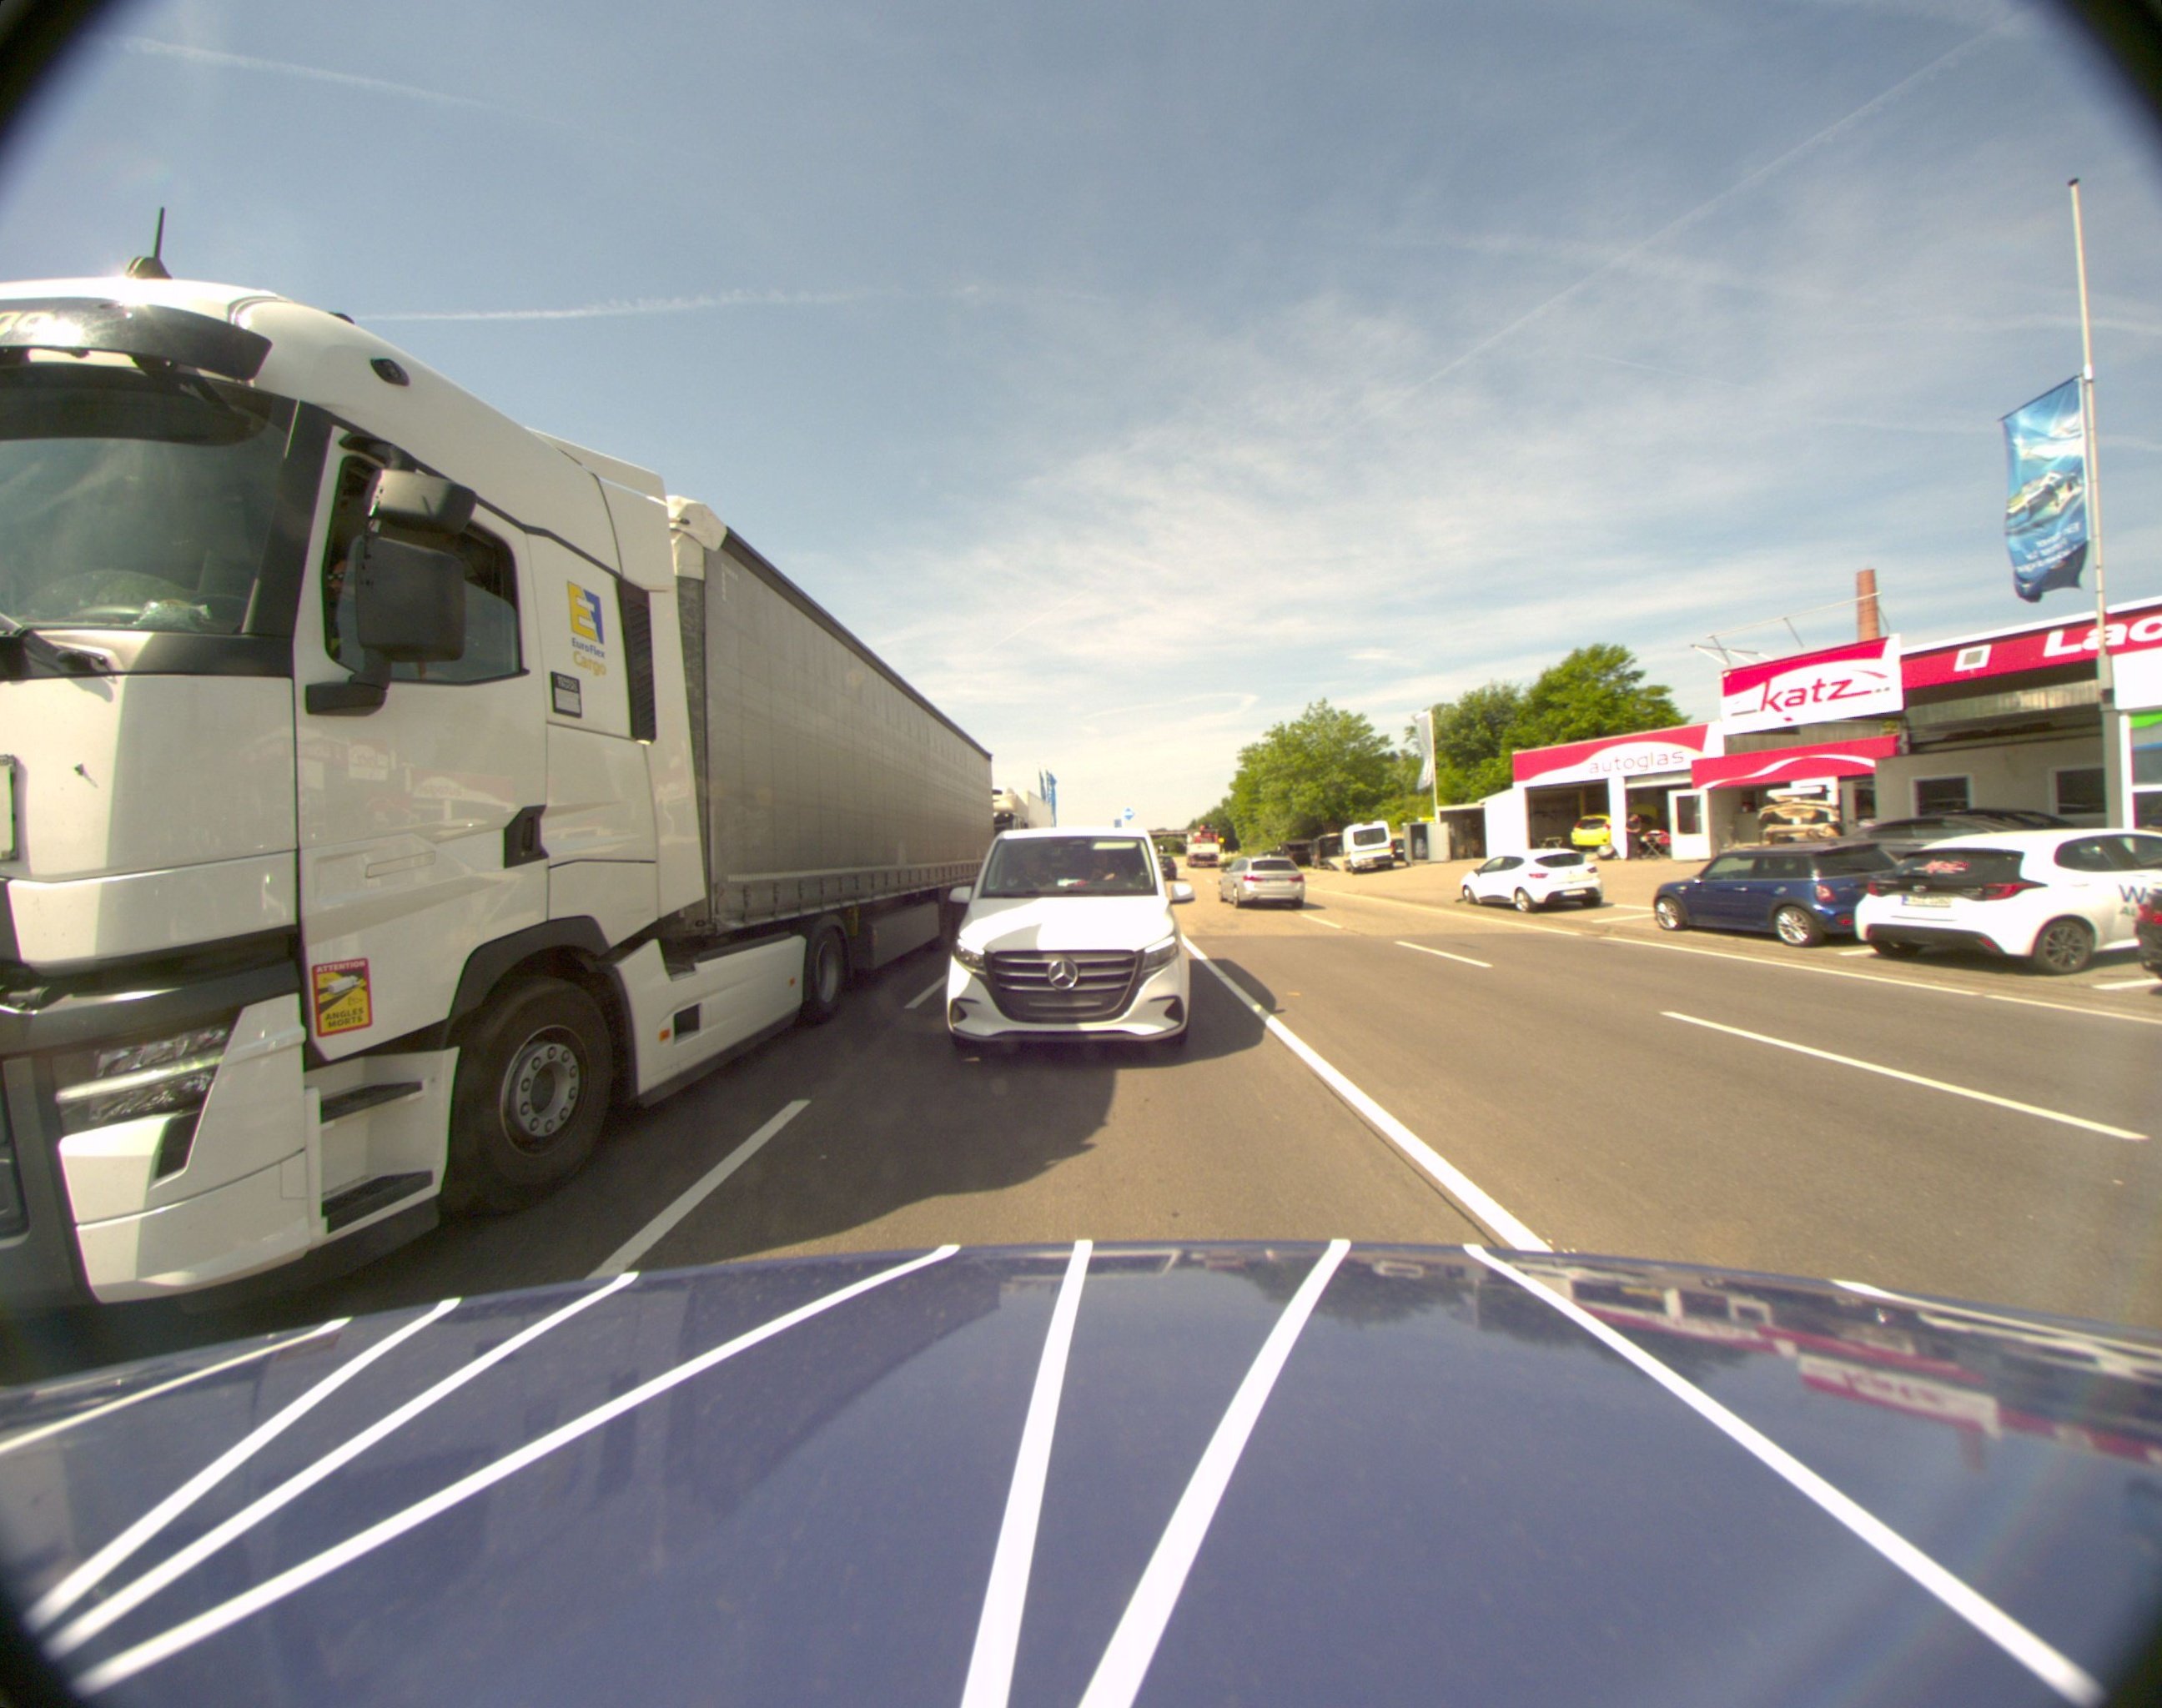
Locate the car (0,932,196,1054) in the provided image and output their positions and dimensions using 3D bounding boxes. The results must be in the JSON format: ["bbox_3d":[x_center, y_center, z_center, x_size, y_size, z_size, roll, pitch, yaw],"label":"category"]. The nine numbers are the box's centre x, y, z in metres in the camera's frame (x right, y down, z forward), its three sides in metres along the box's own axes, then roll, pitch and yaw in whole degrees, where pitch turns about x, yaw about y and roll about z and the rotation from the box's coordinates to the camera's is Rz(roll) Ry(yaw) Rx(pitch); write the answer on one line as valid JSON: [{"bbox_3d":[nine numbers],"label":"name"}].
[{"bbox_3d":[-15.350,1.997,10.464,3.669,1.394,1.735,-3,0,-26],"label":"car"}]

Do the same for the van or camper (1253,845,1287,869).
[{"bbox_3d":[13.391,0.185,54.056,1.643,1.515,4.468,-3,1,5],"label":"van or camper"}]

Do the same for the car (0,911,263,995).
[{"bbox_3d":[-21.414,2.154,17.294,1.562,1.401,3.596,-1,1,3],"label":"car"}]

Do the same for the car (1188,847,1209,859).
[{"bbox_3d":[17.150,-0.179,110.541,1.808,1.551,4.394,-1,0,26],"label":"car"}]

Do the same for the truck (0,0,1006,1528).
[{"bbox_3d":[-3.666,-0.369,10.340,2.897,4.241,16.710,-2,0,2],"label":"truck"}]

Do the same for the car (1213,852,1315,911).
[{"bbox_3d":[5.304,0.729,22.691,1.914,1.512,4.781,-2,0,1],"label":"car"}]

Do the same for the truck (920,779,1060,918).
[{"bbox_3d":[-2.714,-0.181,26.923,2.886,3.789,11.143,-2,0,3],"label":"truck"}]

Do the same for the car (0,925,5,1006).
[{"bbox_3d":[-21.467,2.089,12.243,1.998,1.647,4.282,-3,0,4],"label":"car"}]

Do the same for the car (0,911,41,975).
[{"bbox_3d":[-28.922,2.376,18.443,1.707,1.608,3.970,-3,0,6],"label":"car"}]

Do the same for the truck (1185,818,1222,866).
[{"bbox_3d":[11.420,-1.093,71.702,2.962,4.184,10.652,0,0,7],"label":"truck"}]

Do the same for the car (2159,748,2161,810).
[{"bbox_3d":[20.666,-1.118,12.095,1.706,1.749,3.754,-6,2,-25],"label":"car"}]

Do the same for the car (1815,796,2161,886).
[{"bbox_3d":[18.935,-0.180,16.104,1.861,1.496,4.389,-5,-1,-22],"label":"car"}]

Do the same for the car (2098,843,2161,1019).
[{"bbox_3d":[11.431,0.527,6.261,3.717,1.516,1.792,-6,0,-2],"label":"car"}]

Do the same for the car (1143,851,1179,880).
[{"bbox_3d":[4.545,0.616,43.646,1.810,1.550,4.388,-2,0,3],"label":"car"}]

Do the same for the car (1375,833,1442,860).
[{"bbox_3d":[20.580,-0.478,47.767,3.675,1.521,1.736,-3,1,-22],"label":"car"}]

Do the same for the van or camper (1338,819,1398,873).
[{"bbox_3d":[15.150,-0.434,40.392,2.157,2.484,5.956,-6,0,15],"label":"van or camper"}]

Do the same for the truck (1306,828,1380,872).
[{"bbox_3d":[16.400,-0.279,48.170,2.335,2.283,8.806,-7,0,6],"label":"truck"}]

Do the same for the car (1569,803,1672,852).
[{"bbox_3d":[22.805,-1.126,32.137,3.674,1.715,1.736,-6,2,-22],"label":"car"}]

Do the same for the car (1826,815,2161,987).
[{"bbox_3d":[11.718,0.466,9.061,3.806,1.516,1.846,-6,0,-2],"label":"car"}]

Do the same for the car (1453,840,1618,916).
[{"bbox_3d":[11.156,0.522,19.024,1.783,1.608,4.000,-3,0,2],"label":"car"}]

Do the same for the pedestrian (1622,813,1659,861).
[{"bbox_3d":[20.947,-0.638,28.457,0.724,1.752,0.895,-3,1,4],"label":"pedestrian"}]

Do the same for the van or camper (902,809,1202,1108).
[{"bbox_3d":[-0.094,0.719,7.871,1.998,2.002,5.291,-2,0,2],"label":"van or camper"}]

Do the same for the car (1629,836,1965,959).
[{"bbox_3d":[11.074,0.582,12.198,1.783,1.485,3.781,-6,0,2],"label":"car"}]
